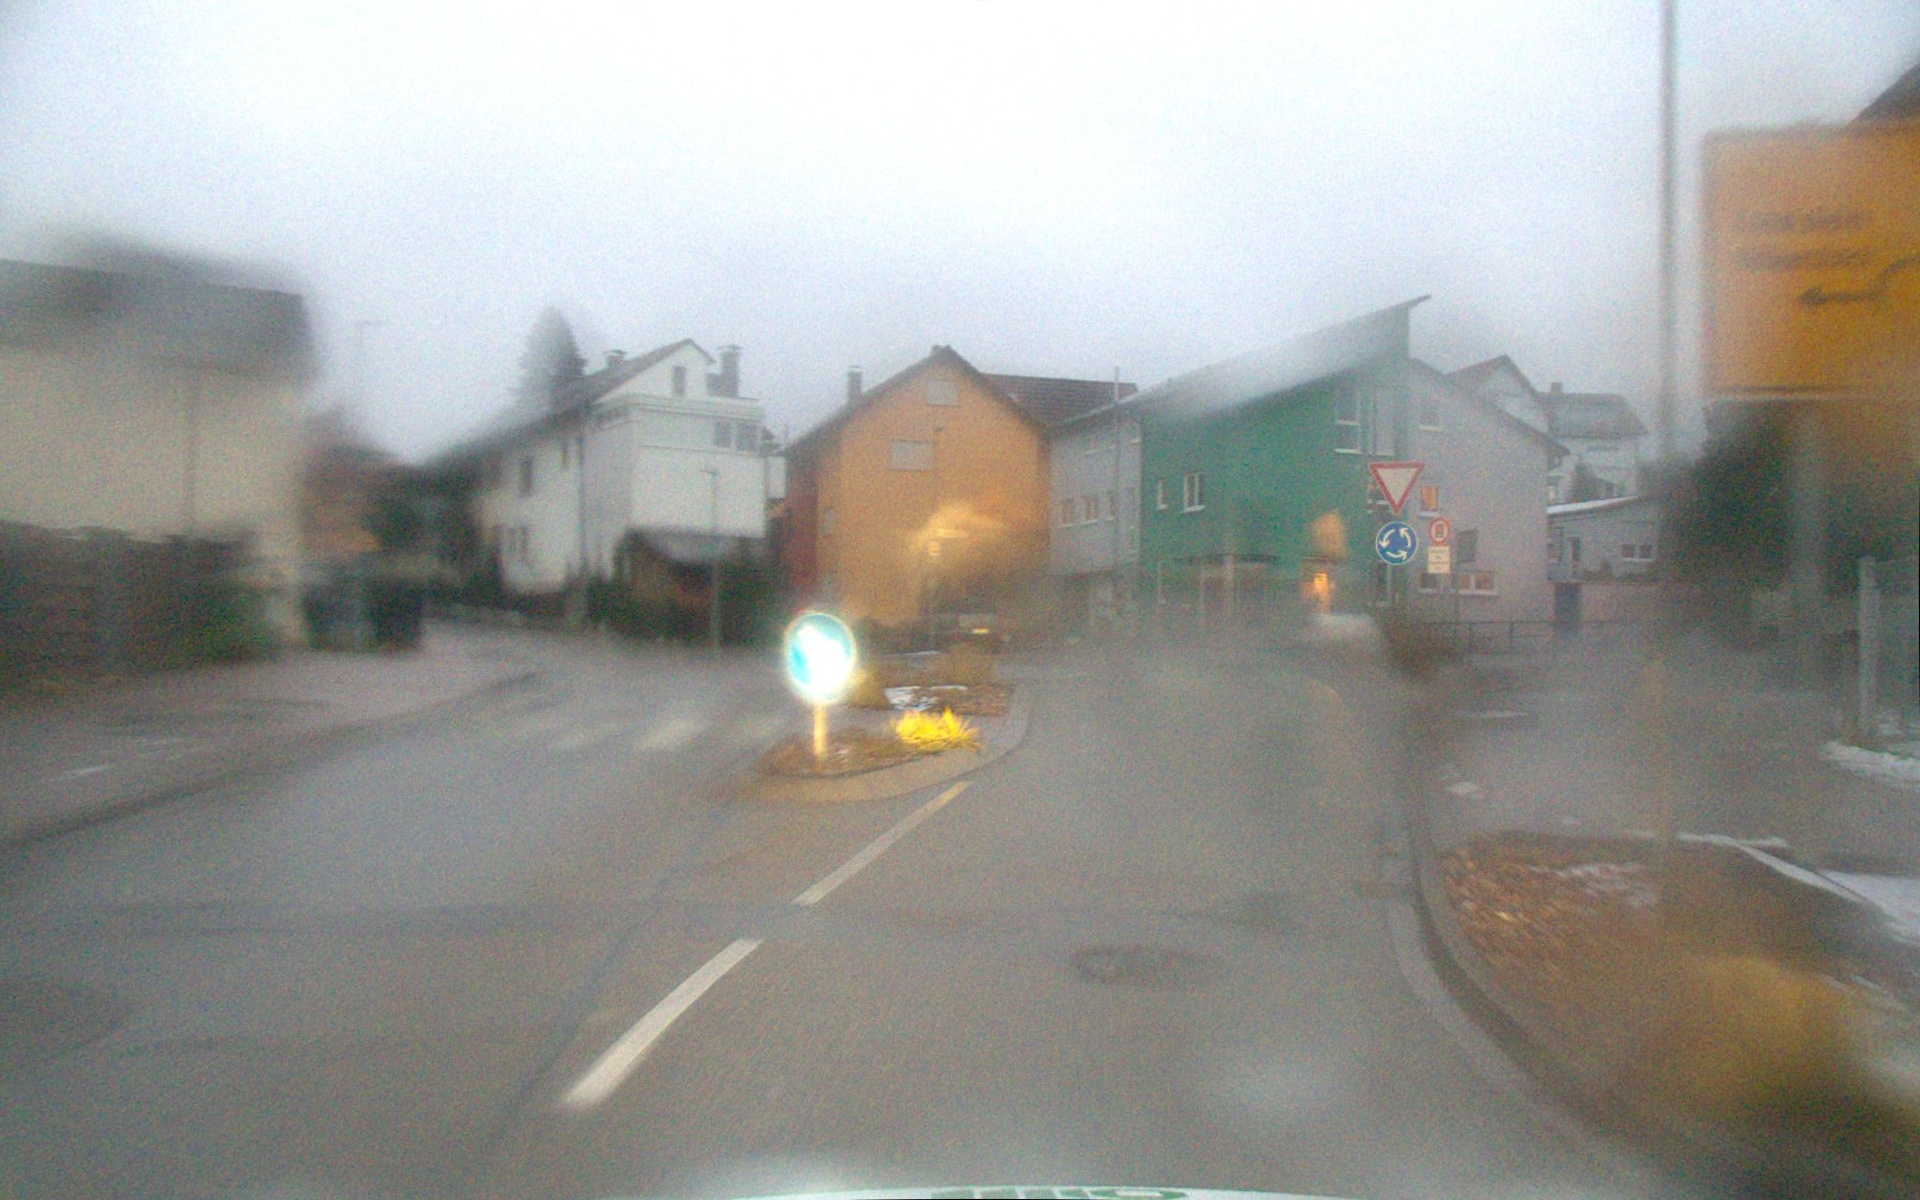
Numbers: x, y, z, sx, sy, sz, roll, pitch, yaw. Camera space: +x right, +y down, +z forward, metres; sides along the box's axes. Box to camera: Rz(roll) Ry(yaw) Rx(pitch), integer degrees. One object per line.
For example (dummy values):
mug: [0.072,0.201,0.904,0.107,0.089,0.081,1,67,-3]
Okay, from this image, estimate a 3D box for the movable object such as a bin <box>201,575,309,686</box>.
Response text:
movable object such as a bin: [-10.252,0.423,24.098,1.074,1.570,1.287,0,0,-4]

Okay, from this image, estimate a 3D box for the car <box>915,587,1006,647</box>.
car: [-0.033,0.479,49.865,1.959,1.673,3.988,1,1,-12]

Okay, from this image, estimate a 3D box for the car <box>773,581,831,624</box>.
car: [-6.614,0.074,68.895,1.959,1.673,3.988,1,1,-12]
